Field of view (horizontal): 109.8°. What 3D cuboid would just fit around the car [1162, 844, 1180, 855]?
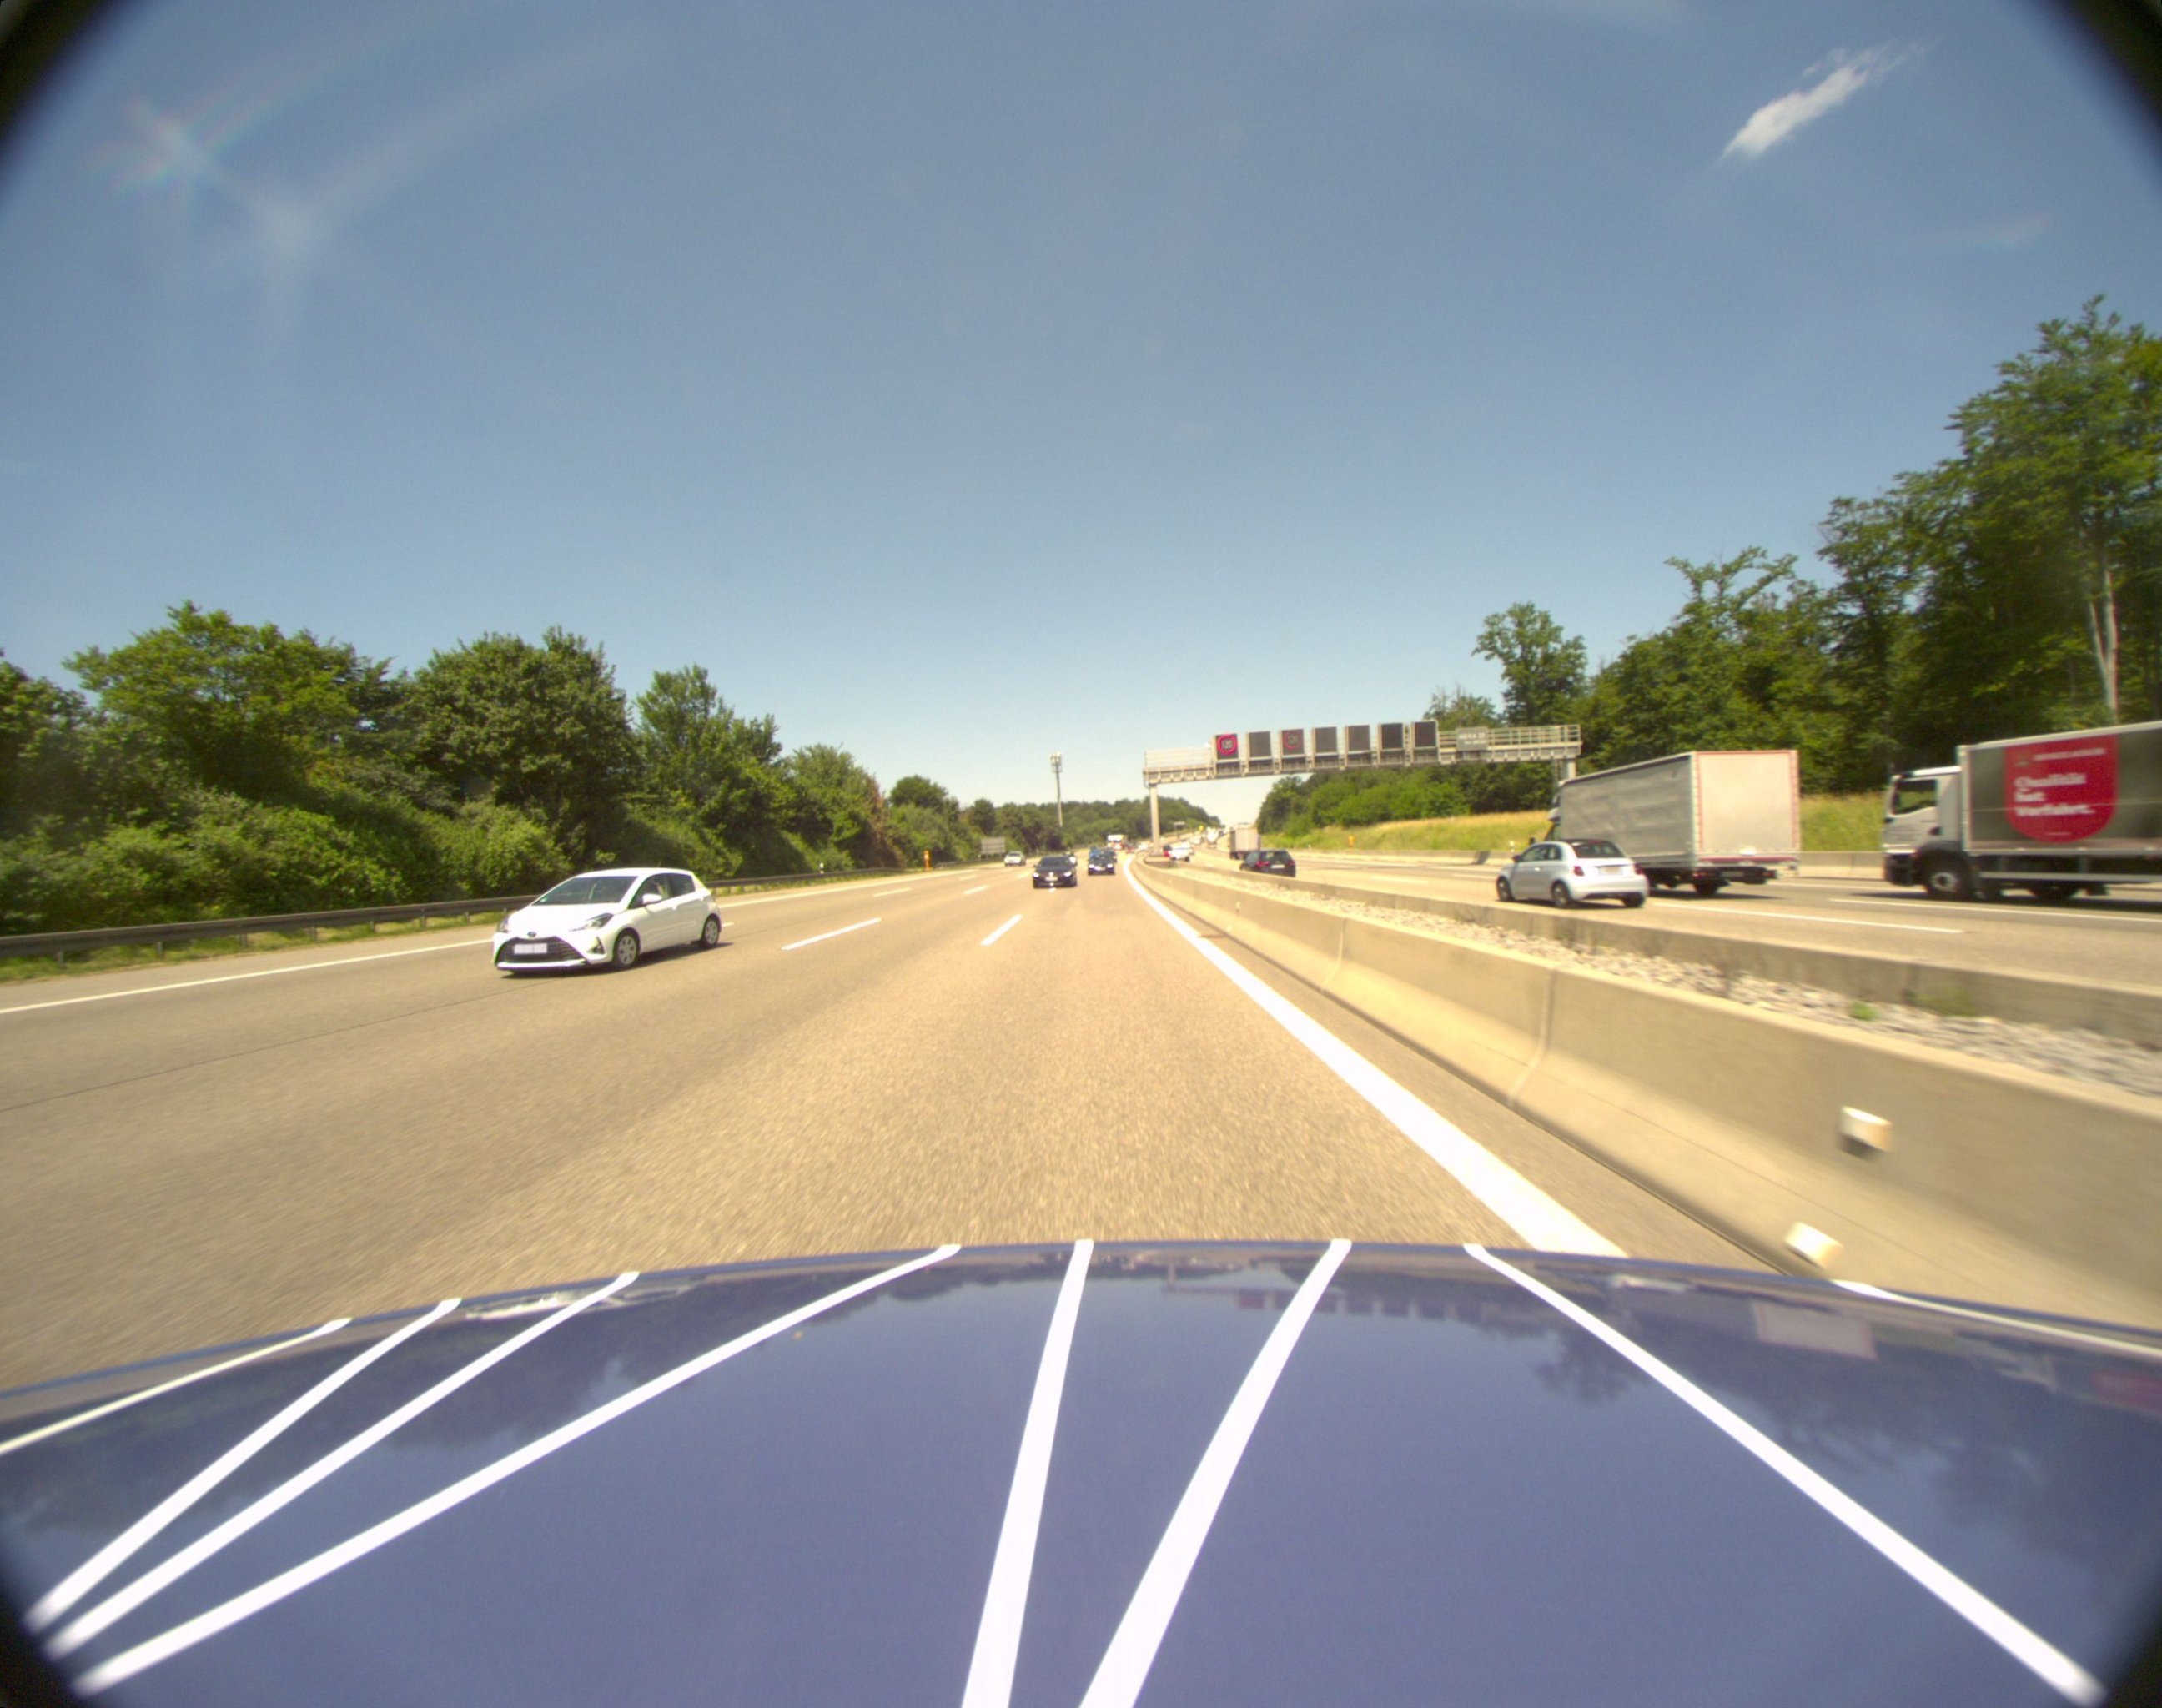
[{"bbox_3d":[12.666,-0.637,107.413,2.052,1.434,5.221,-2,1,3],"label":"car"}]

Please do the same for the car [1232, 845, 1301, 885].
[{"bbox_3d":[8.081,0.409,33.537,1.998,1.581,4.844,-2,1,3],"label":"car"}]

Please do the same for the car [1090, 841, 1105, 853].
[{"bbox_3d":[2.962,-1.269,134.216,1.997,2.002,4.001,-3,2,9],"label":"car"}]

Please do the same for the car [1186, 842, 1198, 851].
[{"bbox_3d":[18.696,-1.247,128.084,1.704,1.394,4.351,-2,2,4],"label":"car"}]

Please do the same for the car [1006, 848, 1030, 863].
[{"bbox_3d":[-7.133,0.108,86.462,1.998,1.521,4.000,-2,1,4],"label":"car"}]

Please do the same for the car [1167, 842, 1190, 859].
[{"bbox_3d":[10.727,-0.468,84.228,1.993,1.727,5.345,-3,1,3],"label":"car"}]

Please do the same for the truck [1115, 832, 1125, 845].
[{"bbox_3d":[11.118,-4.381,214.778,2.434,3.458,7.022,-3,2,4],"label":"truck"}]

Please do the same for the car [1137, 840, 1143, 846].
[{"bbox_3d":[19.033,-3.553,244.650,1.998,2.002,4.000,-3,2,4],"label":"car"}]

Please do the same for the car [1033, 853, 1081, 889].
[{"bbox_3d":[-1.035,0.729,34.672,1.760,1.431,4.000,-2,1,4],"label":"car"}]

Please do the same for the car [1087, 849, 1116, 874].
[{"bbox_3d":[1.401,0.478,50.640,1.769,1.495,4.001,-3,0,3],"label":"car"}]

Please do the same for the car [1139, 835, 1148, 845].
[{"bbox_3d":[16.821,-3.817,205.208,2.233,2.372,4.161,-3,2,3],"label":"car"}]

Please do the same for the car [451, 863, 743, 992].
[{"bbox_3d":[-7.480,1.011,12.418,1.754,1.510,4.483,-2,1,1],"label":"car"}]

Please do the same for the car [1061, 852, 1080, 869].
[{"bbox_3d":[-1.026,0.675,78.040,1.729,1.521,3.741,-2,1,1],"label":"car"}]

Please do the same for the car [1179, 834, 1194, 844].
[{"bbox_3d":[22.057,-3.211,159.025,2.201,2.044,7.140,-2,1,2],"label":"car"}]

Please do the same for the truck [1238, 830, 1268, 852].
[{"bbox_3d":[24.361,-1.862,107.956,2.857,2.976,5.845,-3,2,1],"label":"truck"}]

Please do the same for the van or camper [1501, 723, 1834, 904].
[{"bbox_3d":[15.161,-1.000,20.788,2.836,3.817,8.213,-3,2,1],"label":"van or camper"}]

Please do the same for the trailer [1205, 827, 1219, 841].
[{"bbox_3d":[35.364,-5.420,205.276,2.657,3.515,10.494,-3,2,4],"label":"trailer"}]

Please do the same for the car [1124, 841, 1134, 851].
[{"bbox_3d":[10.257,-1.700,162.588,1.998,2.002,4.001,-3,0,3],"label":"car"}]

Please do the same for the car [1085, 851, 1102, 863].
[{"bbox_3d":[1.820,0.437,112.270,1.997,1.521,4.235,-3,2,7],"label":"car"}]

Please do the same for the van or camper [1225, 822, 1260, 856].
[{"bbox_3d":[18.250,-1.691,86.503,2.436,3.657,7.758,-2,1,1],"label":"van or camper"}]

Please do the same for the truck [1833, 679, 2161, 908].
[{"bbox_3d":[18.835,-1.062,12.966,2.877,3.676,9.237,-3,2,0],"label":"truck"}]

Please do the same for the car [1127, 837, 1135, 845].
[{"bbox_3d":[13.571,-3.542,207.615,1.998,1.848,4.000,-3,2,6],"label":"car"}]

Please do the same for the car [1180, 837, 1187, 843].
[{"bbox_3d":[27.391,-3.812,203.151,1.679,1.518,4.611,-3,2,4],"label":"car"}]

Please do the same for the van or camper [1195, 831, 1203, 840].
[{"bbox_3d":[40.445,-6.488,259.999,2.563,2.915,7.352,-1,2,10],"label":"van or camper"}]

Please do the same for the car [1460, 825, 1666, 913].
[{"bbox_3d":[11.134,0.278,18.089,1.744,1.752,5.119,-2,1,2],"label":"car"}]

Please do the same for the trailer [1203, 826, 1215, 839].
[{"bbox_3d":[43.994,-7.380,260.330,3.036,4.336,14.284,-2,2,12],"label":"trailer"}]
